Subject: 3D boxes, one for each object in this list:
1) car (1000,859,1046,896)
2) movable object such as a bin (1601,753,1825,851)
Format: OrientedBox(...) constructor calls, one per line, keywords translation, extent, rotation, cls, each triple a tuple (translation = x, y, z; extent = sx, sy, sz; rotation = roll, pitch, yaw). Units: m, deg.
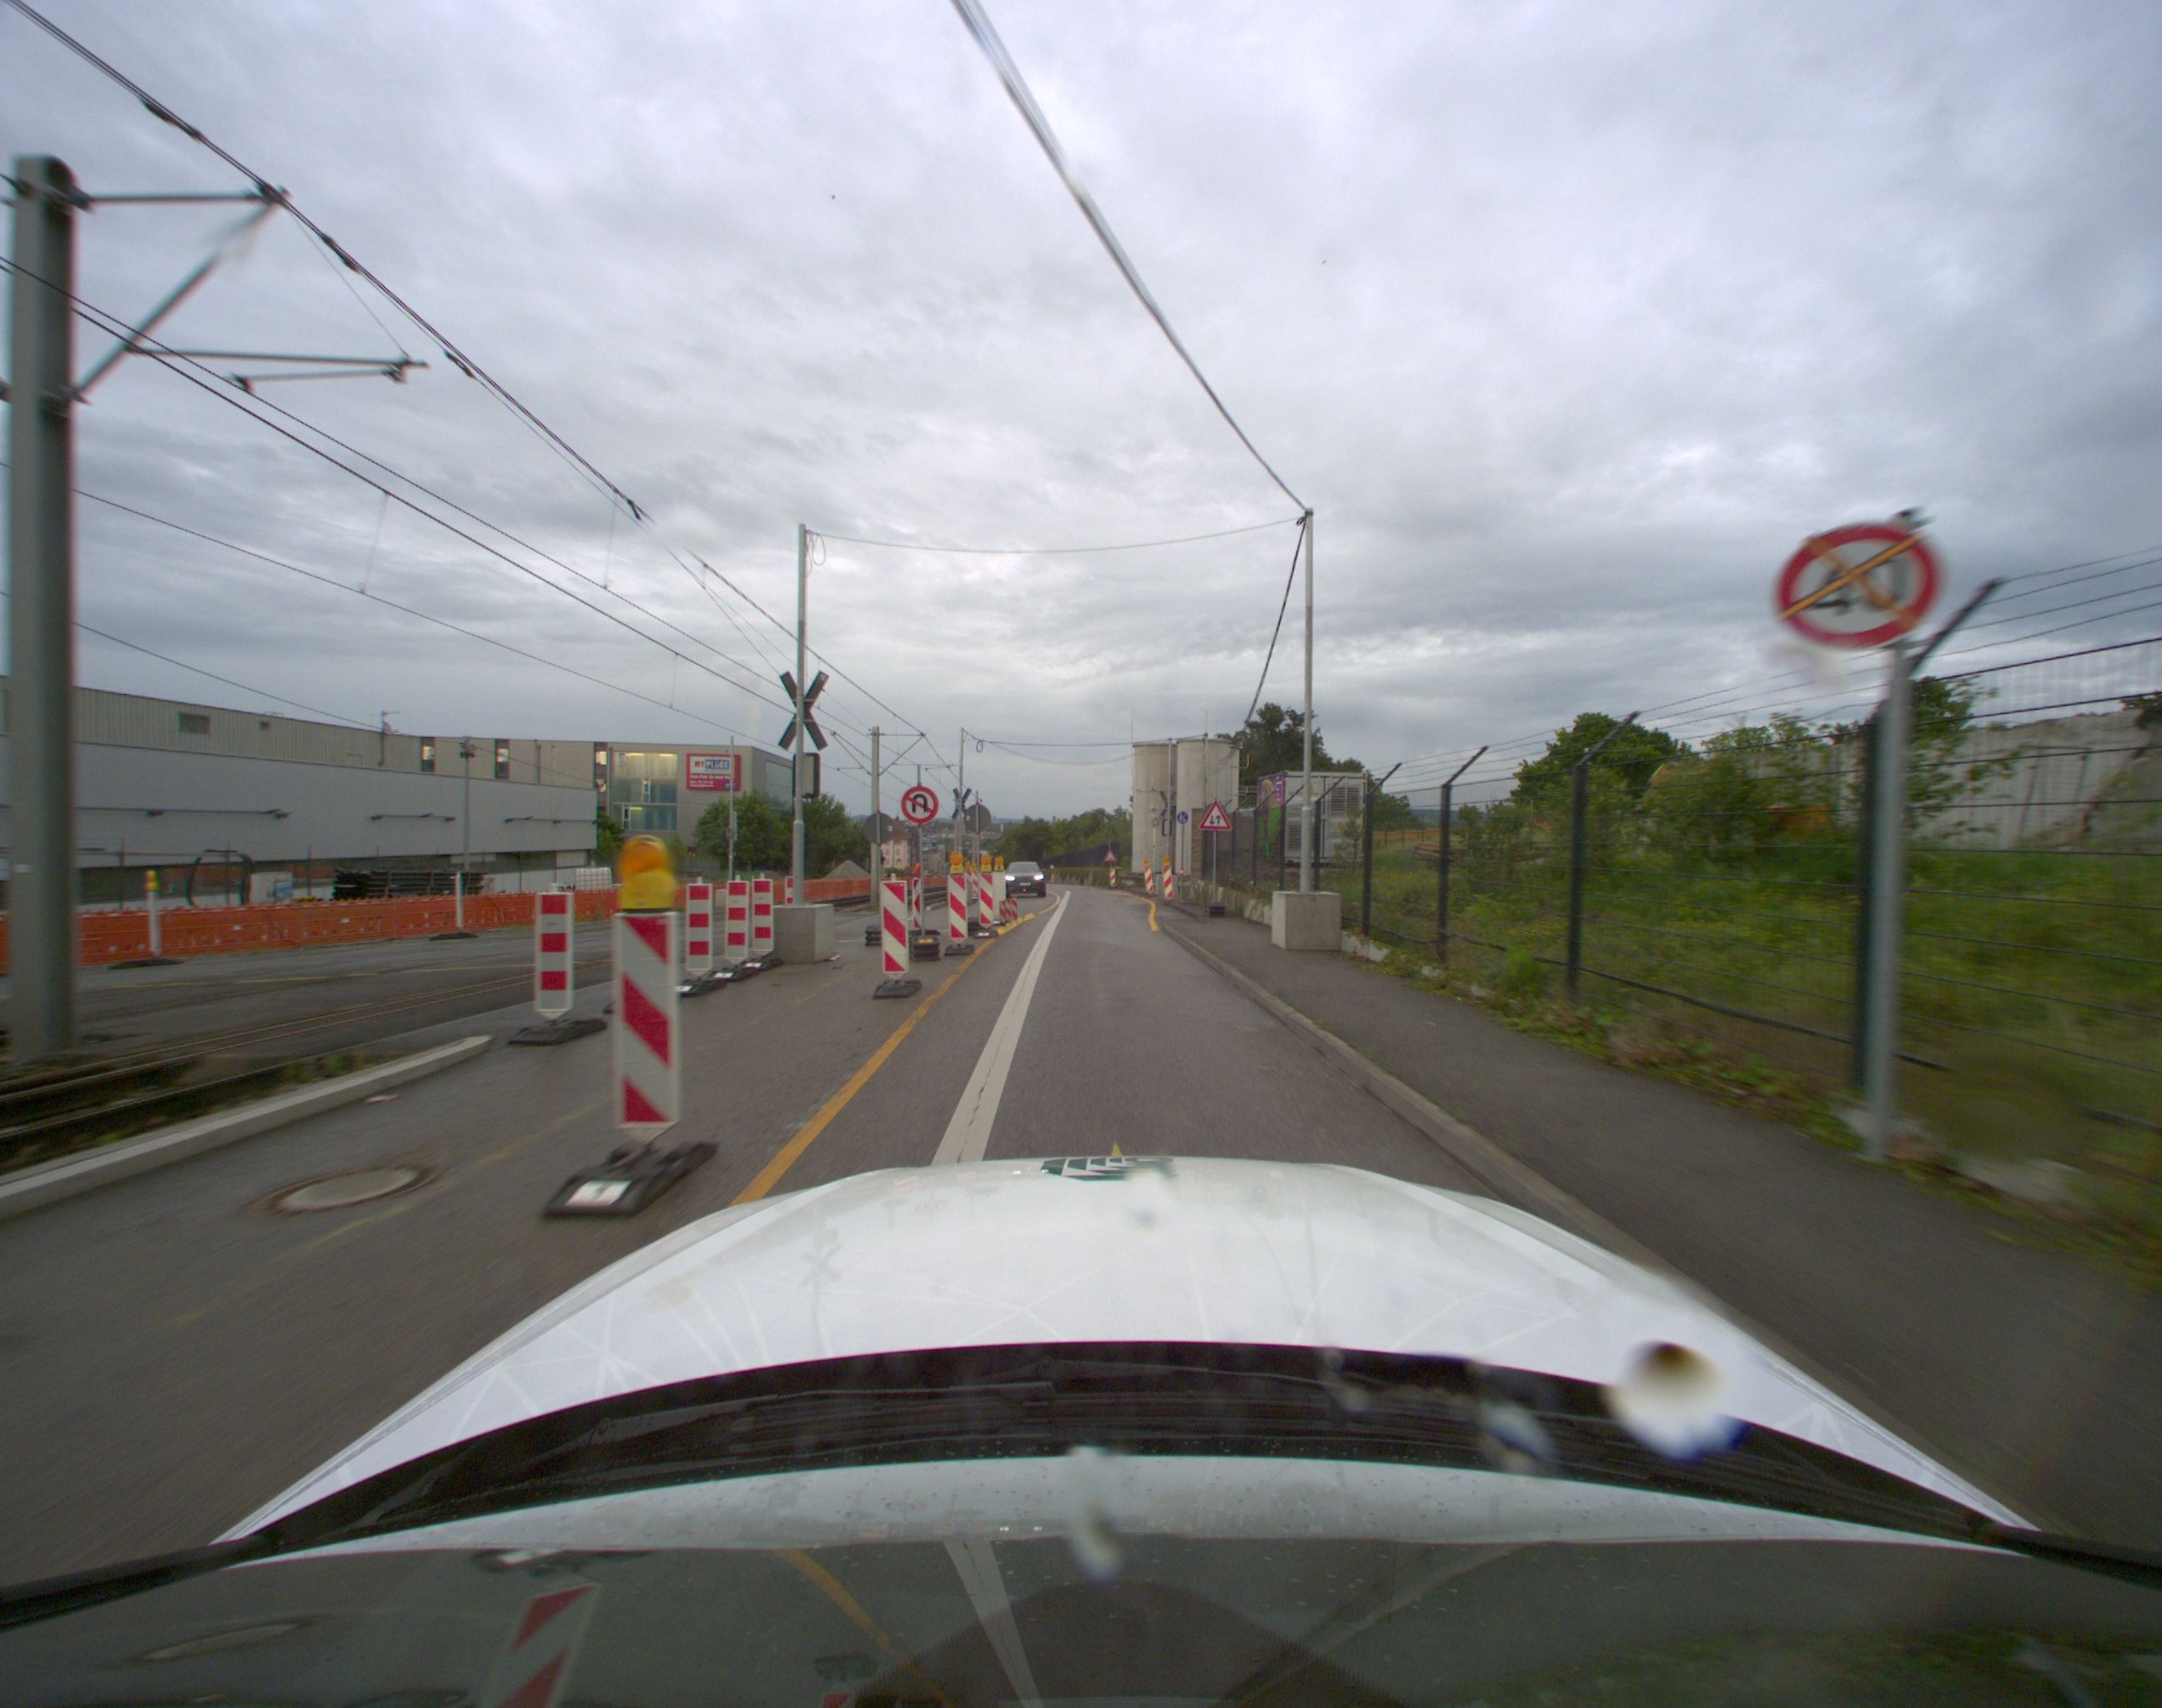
OrientedBox(translation=(-2.806, 1.083, 38.829), extent=(1.991, 1.678, 4.478), rotation=(0, -1, -7), cls="car")
OrientedBox(translation=(40.828, -3.239, 53.118), extent=(11.161, 5.995, 3.501), rotation=(0, -1, 10), cls="movable object such as a bin")
